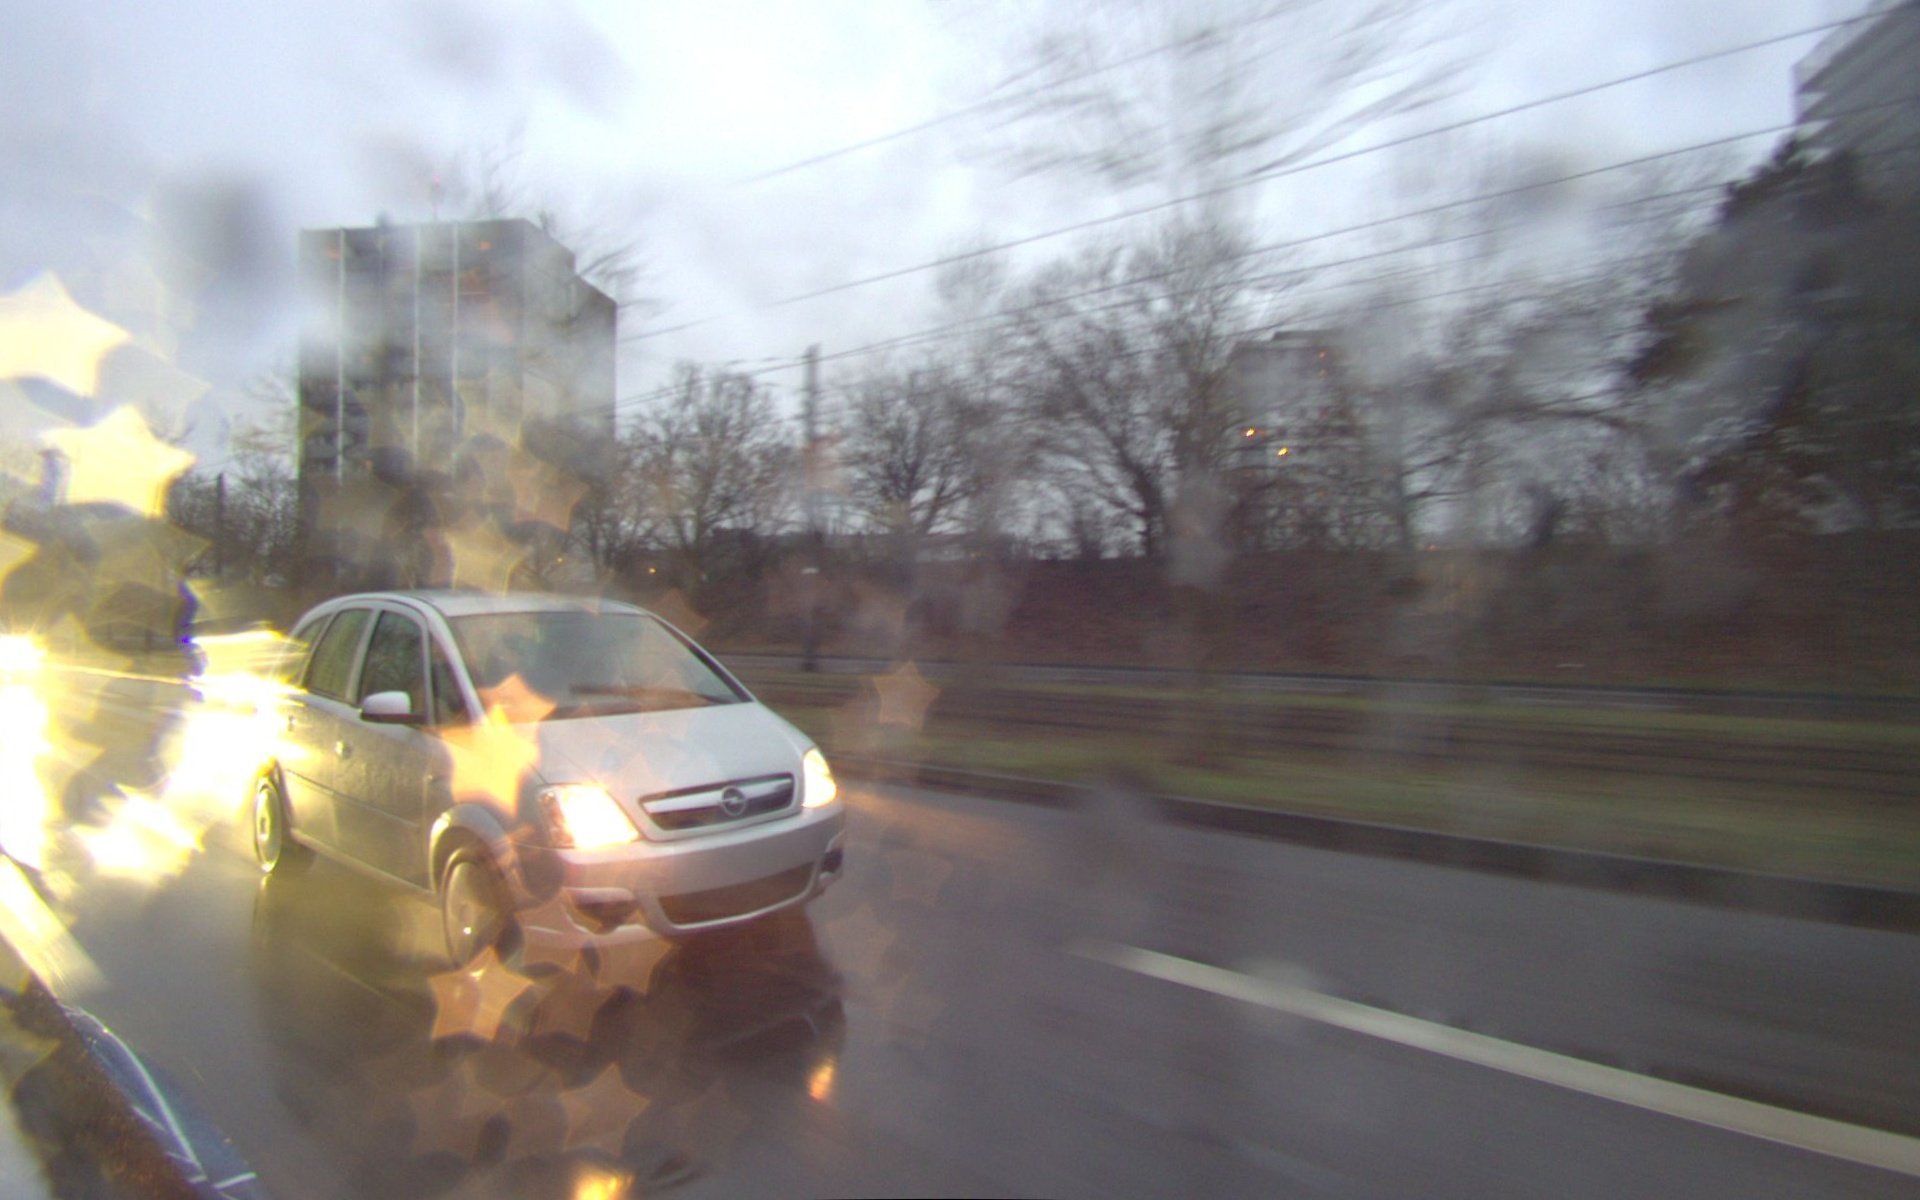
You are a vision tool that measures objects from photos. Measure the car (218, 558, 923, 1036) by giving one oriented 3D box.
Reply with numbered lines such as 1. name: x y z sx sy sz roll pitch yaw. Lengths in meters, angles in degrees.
1. car: -2.298 0.657 5.296 4.188 1.551 1.672 -1 0 41

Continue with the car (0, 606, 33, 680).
1. car: -22.873 0.960 23.135 4.120 1.612 1.928 -1 -1 40
